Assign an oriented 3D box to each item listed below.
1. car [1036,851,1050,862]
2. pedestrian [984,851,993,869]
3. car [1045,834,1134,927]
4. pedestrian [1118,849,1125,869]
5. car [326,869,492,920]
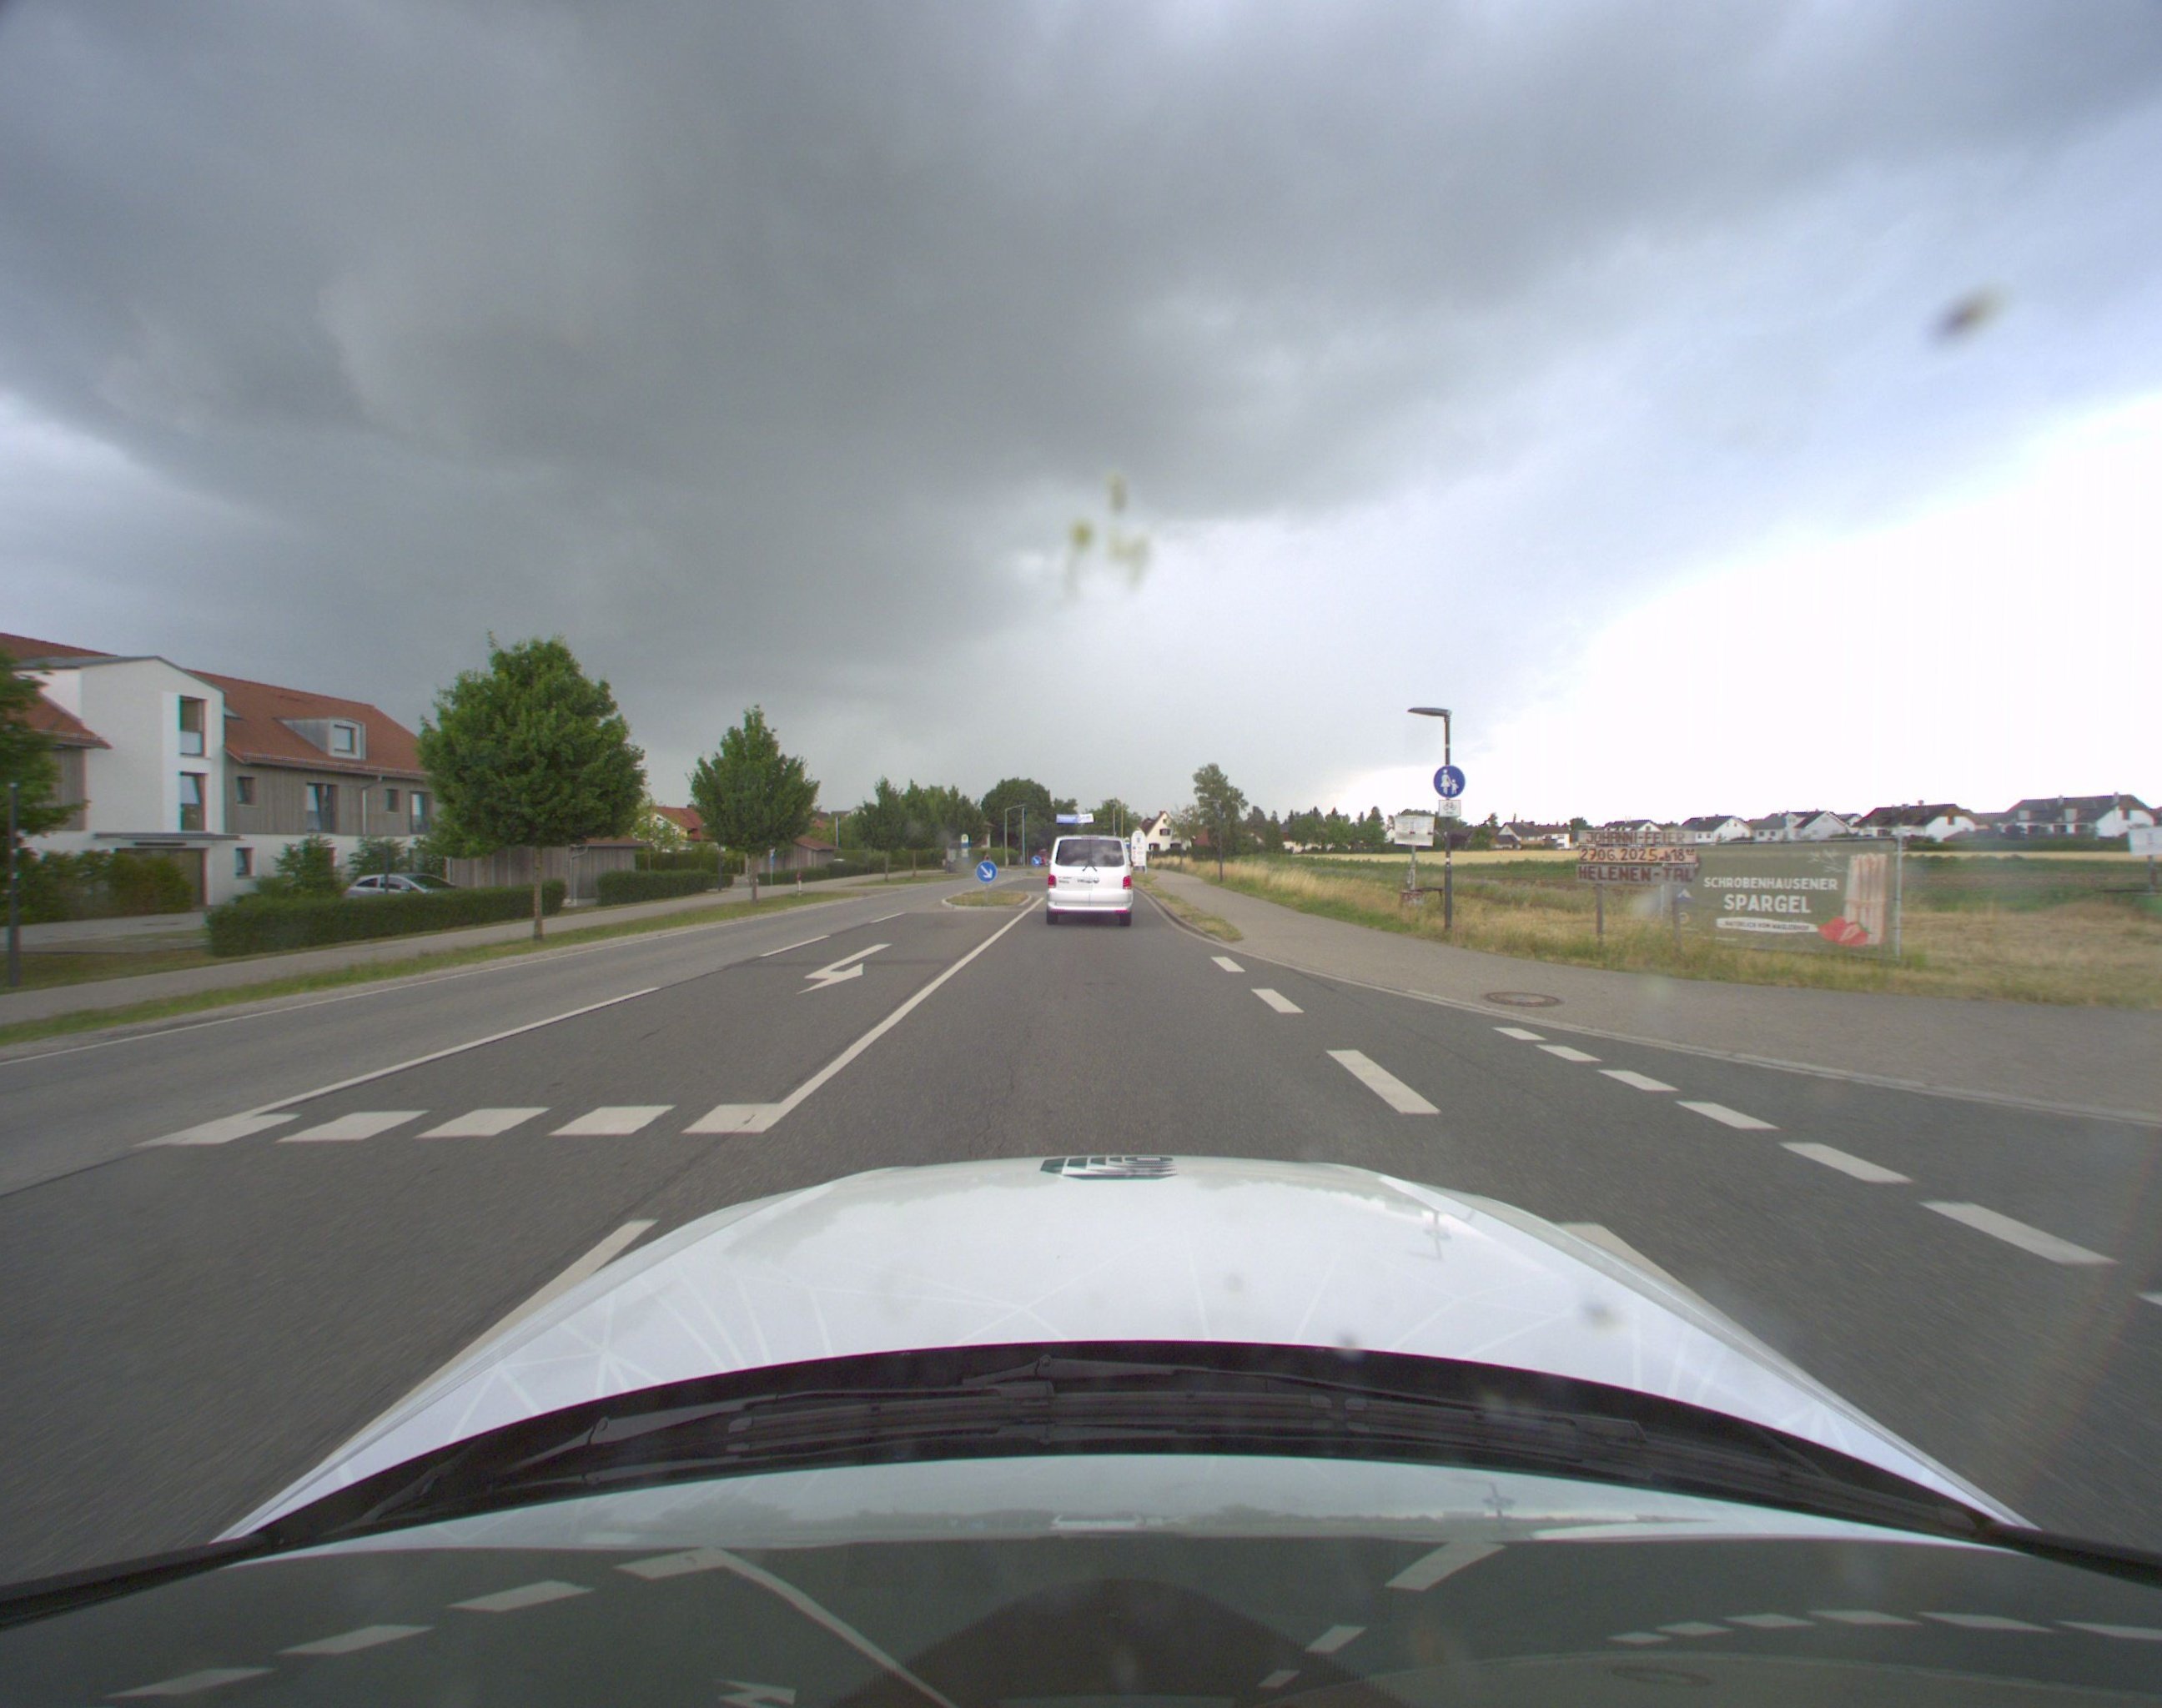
[{"bbox_3d":[-5.256,0.313,112.898,1.648,1.429,3.602,-2,0,0],"label":"car"},{"bbox_3d":[-8.309,0.534,73.031,0.621,1.525,0.680,-2,0,0],"label":"pedestrian"},{"bbox_3d":[0.155,0.536,18.851,1.820,1.913,3.999,0,0,-1],"label":"car"},{"bbox_3d":[3.522,0.440,70.270,0.483,1.732,0.642,-2,0,0],"label":"pedestrian"},{"bbox_3d":[-22.700,1.347,27.611,3.972,1.556,2.001,1,0,2],"label":"car"}]
